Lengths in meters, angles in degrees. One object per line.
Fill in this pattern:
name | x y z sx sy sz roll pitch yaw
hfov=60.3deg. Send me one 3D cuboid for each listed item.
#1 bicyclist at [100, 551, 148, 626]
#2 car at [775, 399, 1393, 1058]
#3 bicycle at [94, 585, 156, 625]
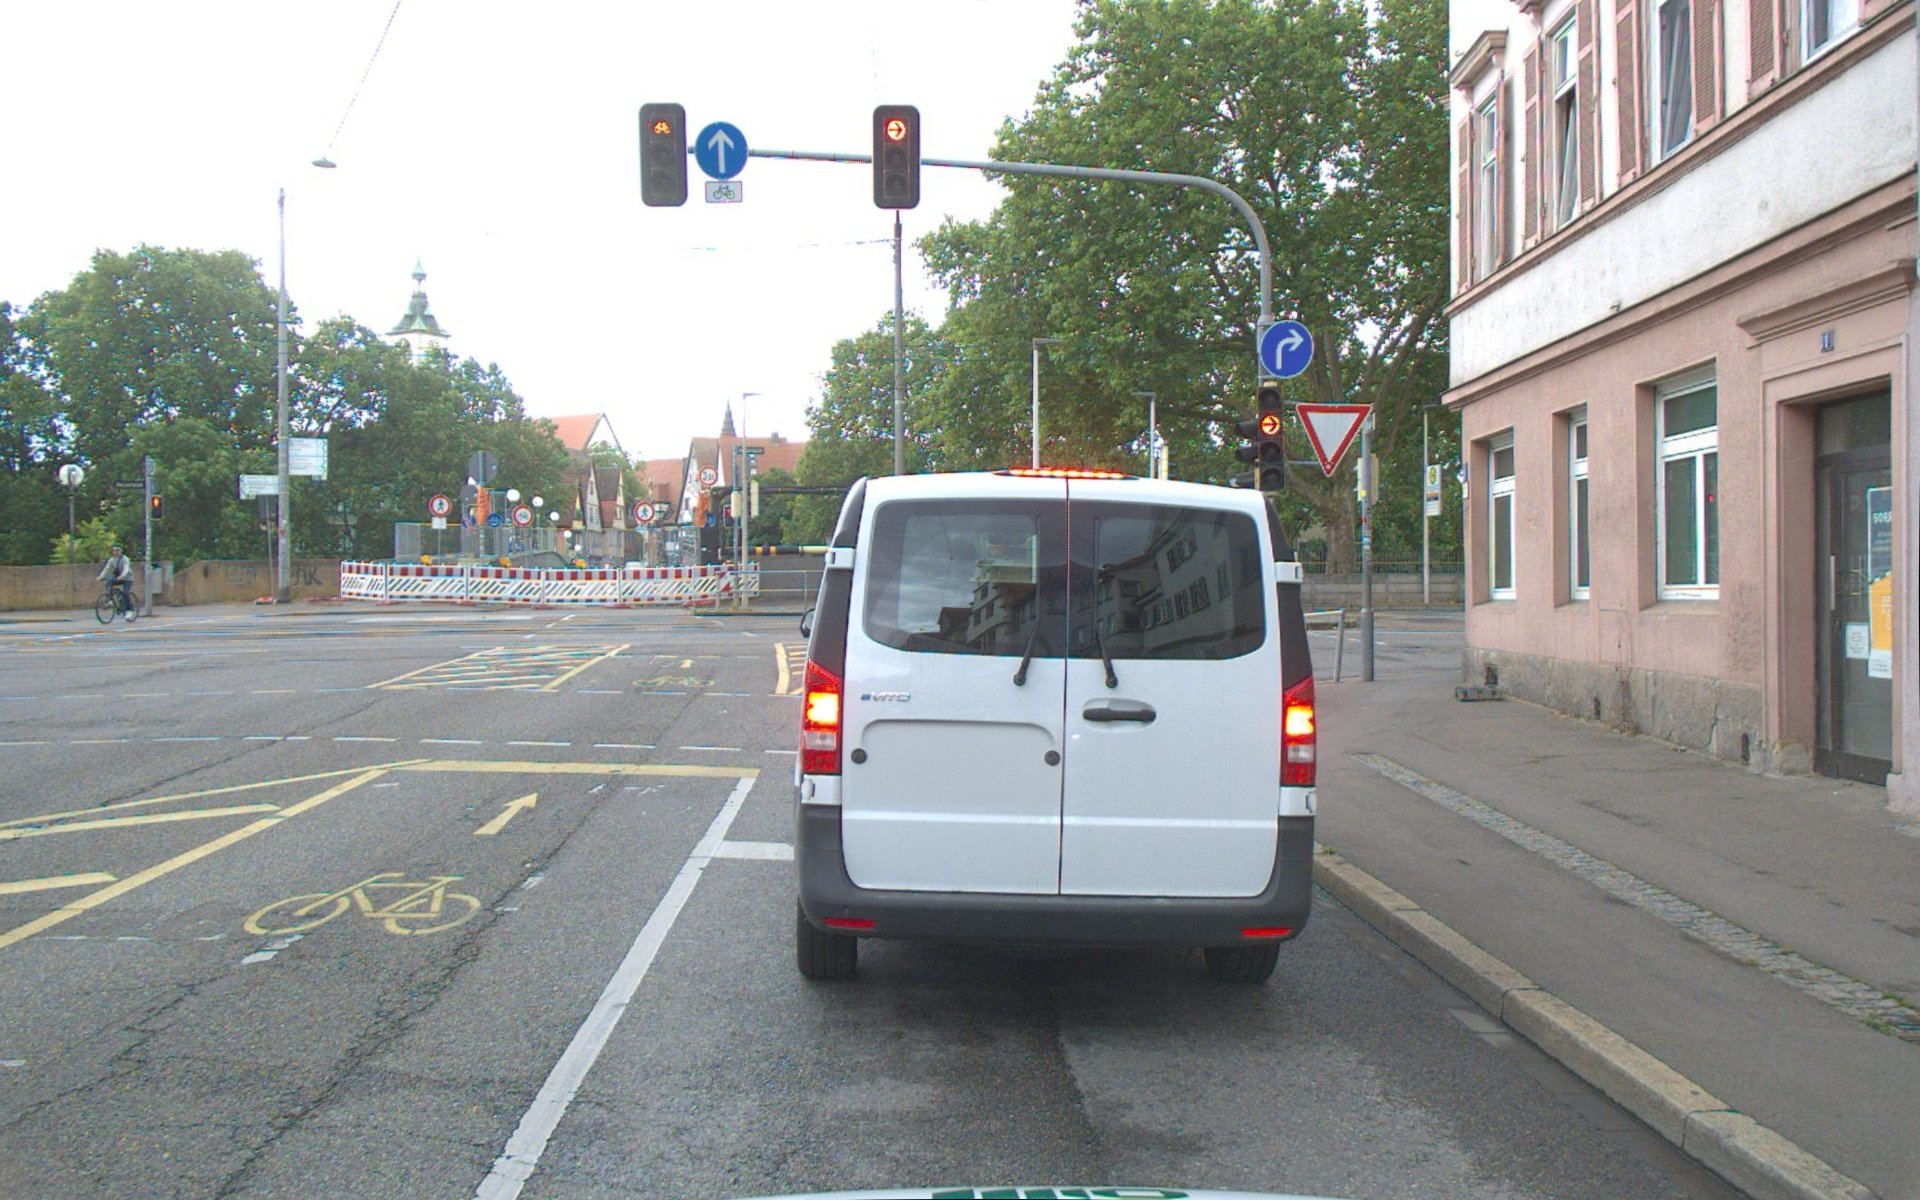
bicyclist | -19.684 -0.278 38.952 0.708 1.730 0.811 0 0 -1
car | 0.358 0.347 7.552 1.911 2.048 4.698 1 2 -1
bicycle | -19.667 0.105 38.985 0.530 0.908 1.880 0 1 -1
